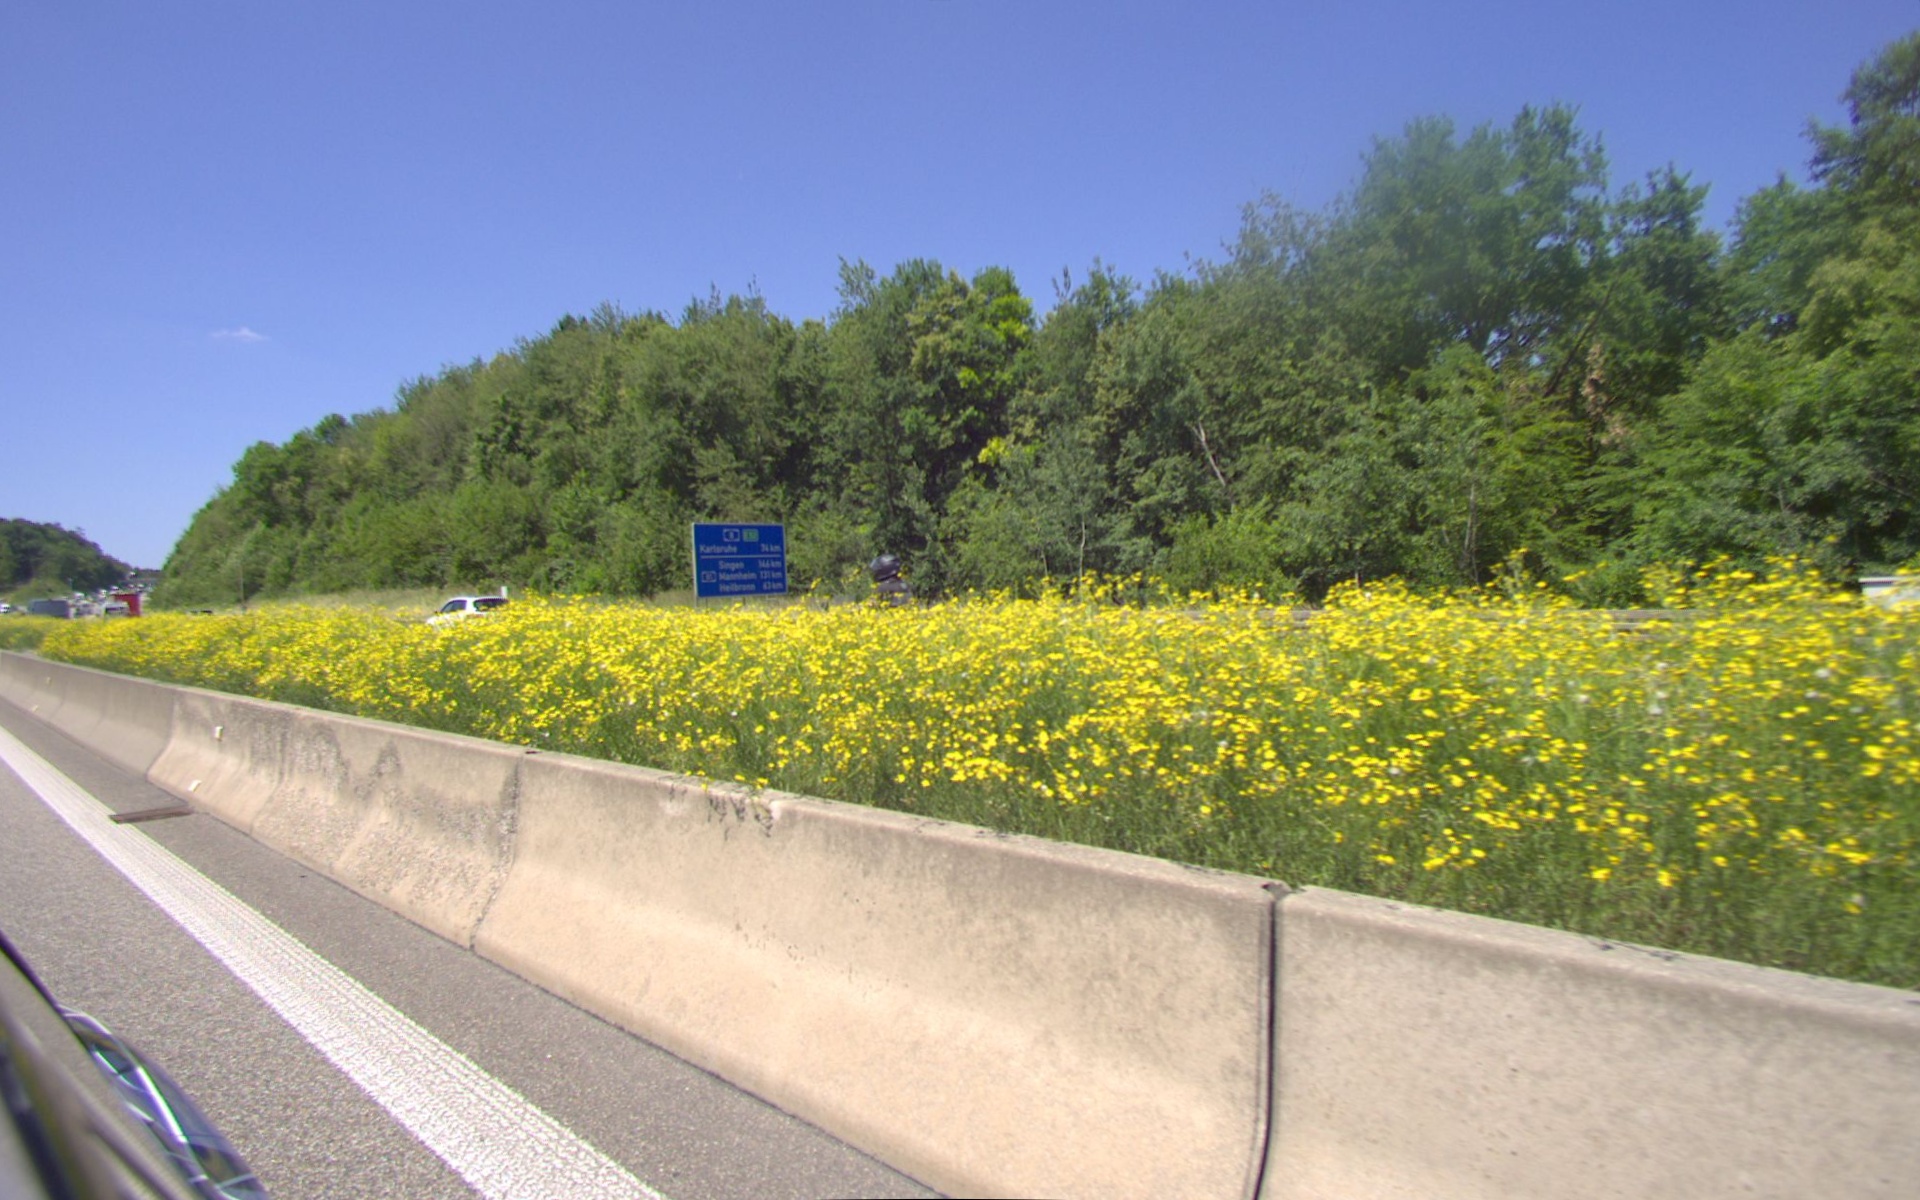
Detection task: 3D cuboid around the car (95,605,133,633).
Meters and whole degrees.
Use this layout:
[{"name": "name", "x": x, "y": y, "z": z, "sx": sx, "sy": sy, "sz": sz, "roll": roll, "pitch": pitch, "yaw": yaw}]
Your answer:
[{"name": "car", "x": -83.917, "y": 1.843, "z": 100.403, "sx": 5.975, "sy": 2.643, "sz": 2.133, "roll": -1, "pitch": 0, "yaw": 43}]

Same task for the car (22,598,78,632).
[{"name": "car", "x": -58.062, "y": 0.943, "z": 64.530, "sx": 6.186, "sy": 2.029, "sz": 2.296, "roll": -1, "pitch": 0, "yaw": 45}]

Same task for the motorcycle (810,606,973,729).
[{"name": "motorcycle", "x": -0.657, "y": 0.594, "z": 9.421, "sx": 1.475, "sy": 1.049, "sz": 0.660, "roll": -1, "pitch": 0, "yaw": 41}]

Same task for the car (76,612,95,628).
[{"name": "car", "x": -139.302, "y": 3.200, "z": 161.151, "sx": 1.971, "sy": 2.417, "sz": 4.002, "roll": -1, "pitch": 0, "yaw": -45}]

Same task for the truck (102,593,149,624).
[{"name": "truck", "x": -110.219, "y": 1.145, "z": 133.538, "sx": 3.875, "sy": 3.746, "sz": 16.758, "roll": -1, "pitch": 0, "yaw": -43}]

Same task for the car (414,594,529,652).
[{"name": "car", "x": -16.202, "y": 0.738, "z": 33.481, "sx": 4.320, "sy": 1.778, "sz": 1.862, "roll": -1, "pitch": 0, "yaw": 41}]

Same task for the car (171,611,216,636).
[{"name": "car", "x": -51.220, "y": 1.547, "z": 67.606, "sx": 4.118, "sy": 1.641, "sz": 1.756, "roll": -1, "pitch": 0, "yaw": 43}]

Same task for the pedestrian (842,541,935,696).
[{"name": "pedestrian", "x": -0.658, "y": 0.160, "z": 9.408, "sx": 0.531, "sy": 1.375, "sz": 0.655, "roll": -1, "pitch": 0, "yaw": 41}]

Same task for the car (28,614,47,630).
[{"name": "car", "x": -142.559, "y": 3.367, "z": 156.332, "sx": 1.971, "sy": 2.417, "sz": 4.002, "roll": -1, "pitch": 0, "yaw": -45}]
